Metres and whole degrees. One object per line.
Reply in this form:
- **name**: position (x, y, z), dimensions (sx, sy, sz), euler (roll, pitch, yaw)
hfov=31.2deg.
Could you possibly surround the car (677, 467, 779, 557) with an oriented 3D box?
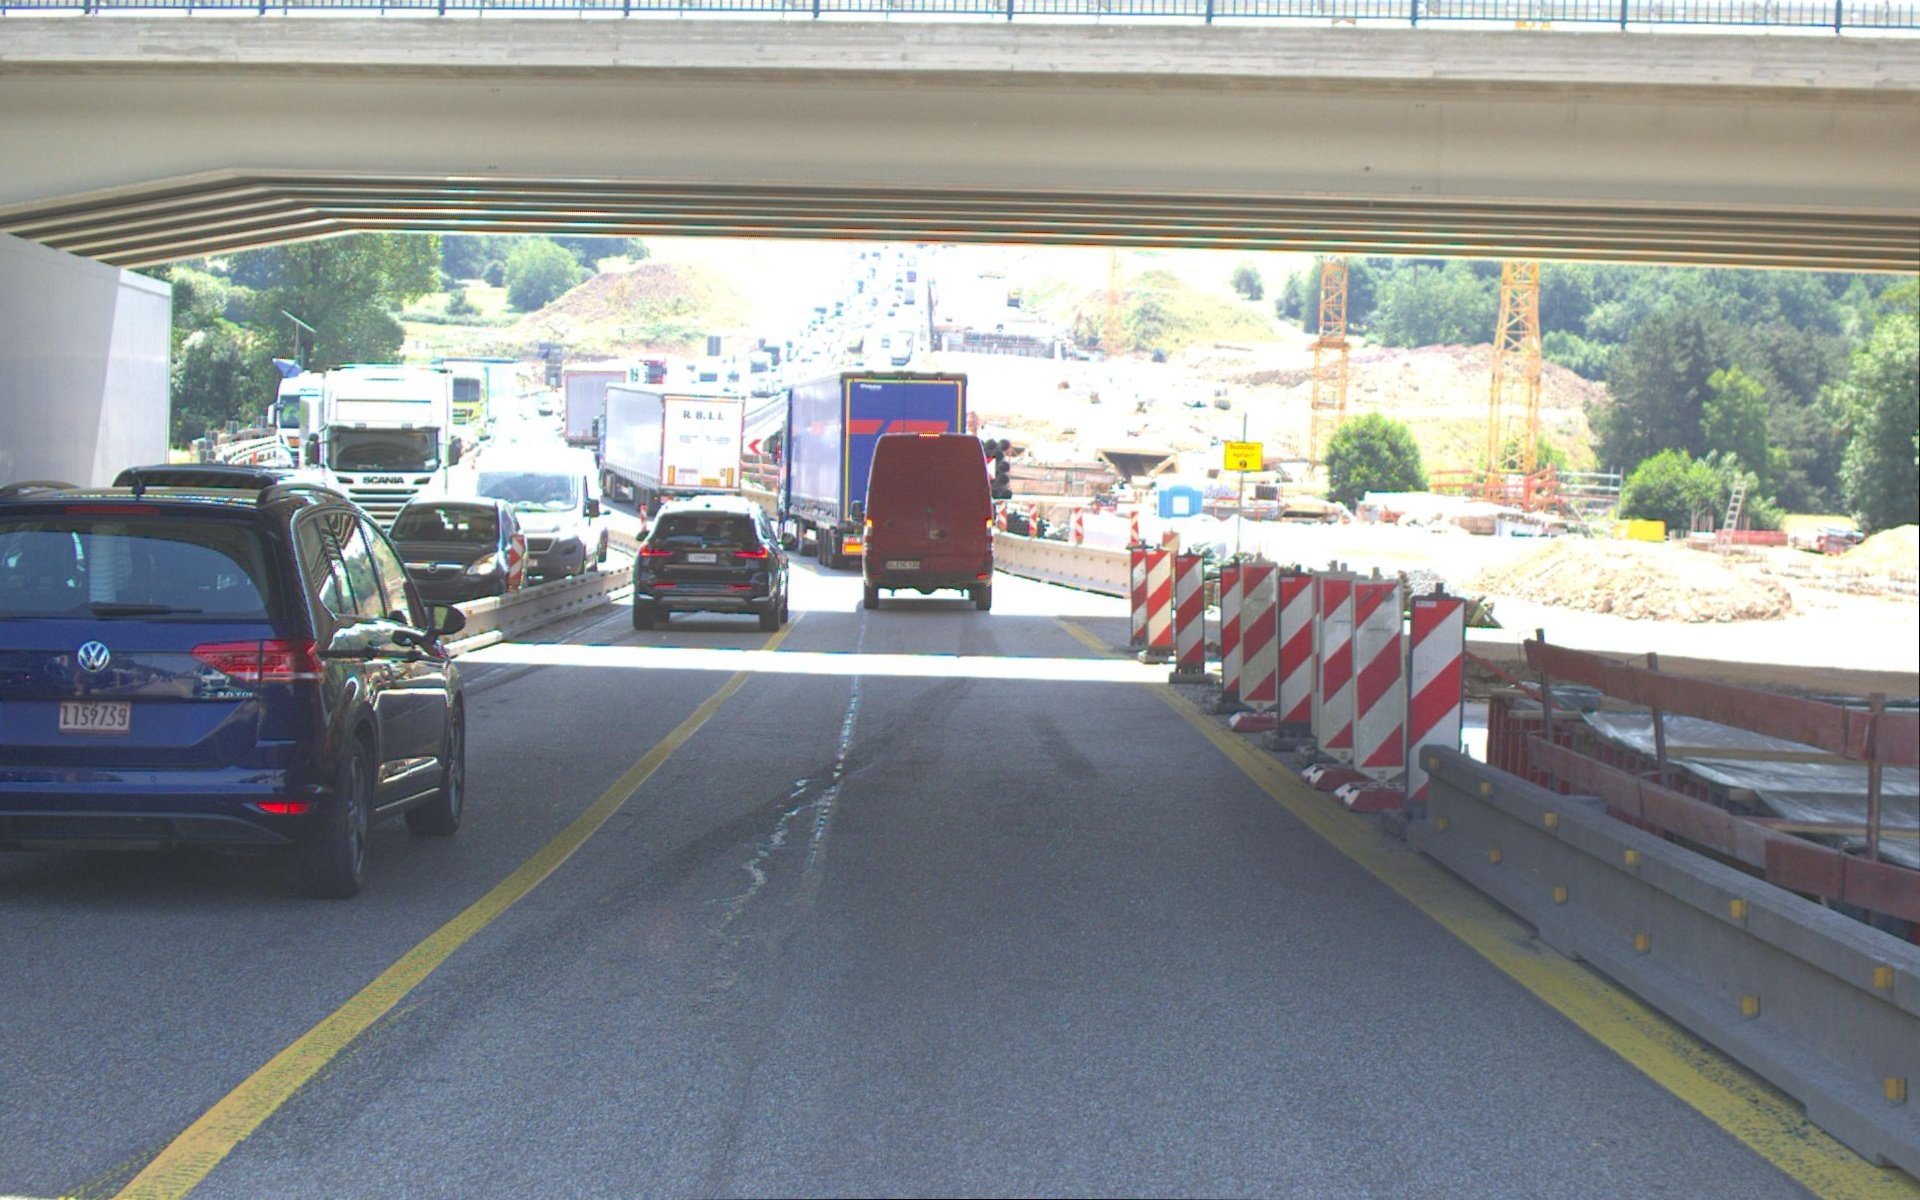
- **car**: position (-4.815, -1.791, 70.922), dimensions (1.833, 1.771, 4.390), euler (1, 1, -7)

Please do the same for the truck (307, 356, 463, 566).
- **truck**: position (-11.770, -2.853, 70.736), dimensions (2.873, 4.037, 4.887), euler (2, 2, -8)

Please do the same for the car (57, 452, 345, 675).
- **car**: position (-7.126, -0.381, 32.741), dimensions (1.799, 1.926, 4.969), euler (1, 1, -2)

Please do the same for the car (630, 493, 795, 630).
- **car**: position (-3.131, -0.535, 44.172), dimensions (1.833, 1.629, 4.390), euler (1, 2, -1)

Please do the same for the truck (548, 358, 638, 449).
- **truck**: position (-15.732, -8.349, 146.912), dimensions (3.218, 3.349, 8.943), euler (1, 0, -10)

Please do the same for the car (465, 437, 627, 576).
- **car**: position (-7.299, -1.652, 61.157), dimensions (1.980, 2.322, 6.058), euler (1, 1, 1)

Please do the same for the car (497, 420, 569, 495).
- **car**: position (-14.738, -4.938, 118.484), dimensions (2.264, 2.346, 5.162), euler (1, 4, -9)

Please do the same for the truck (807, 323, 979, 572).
- **truck**: position (-1.497, -3.279, 72.339), dimensions (2.944, 4.928, 6.744), euler (1, 4, -6)

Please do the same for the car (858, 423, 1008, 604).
- **car**: position (-0.433, -1.282, 53.115), dimensions (2.150, 2.602, 5.439), euler (1, 0, -1)

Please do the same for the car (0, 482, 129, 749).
- **car**: position (-6.712, 0.048, 21.884), dimensions (1.722, 1.604, 4.524), euler (2, 2, 0)

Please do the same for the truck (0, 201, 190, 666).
- **truck**: position (-10.287, -1.565, 33.153), dimensions (2.769, 4.299, 13.491), euler (1, 0, -1)

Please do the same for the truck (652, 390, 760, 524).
- **truck**: position (-7.999, -4.556, 108.011), dimensions (3.181, 3.975, 6.744), euler (1, 4, -5)

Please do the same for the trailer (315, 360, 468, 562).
- **trailer**: position (-12.739, -3.142, 78.005), dimensions (2.876, 4.026, 14.363), euler (2, 2, -8)

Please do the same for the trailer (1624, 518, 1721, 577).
- **trailer**: position (19.791, -1.475, 95.608), dimensions (1.623, 1.481, 3.827), euler (2, 2, -4)

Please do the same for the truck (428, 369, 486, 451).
- **truck**: position (-27.104, -10.259, 185.520), dimensions (2.625, 4.255, 4.733), euler (2, 3, -5)

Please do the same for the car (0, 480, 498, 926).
- **car**: position (-3.224, 0.341, 14.957), dimensions (1.734, 1.630, 4.389), euler (1, 1, 1)

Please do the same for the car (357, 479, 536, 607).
- **car**: position (-6.859, -0.782, 46.293), dimensions (1.748, 1.604, 4.141), euler (1, 1, 0)
